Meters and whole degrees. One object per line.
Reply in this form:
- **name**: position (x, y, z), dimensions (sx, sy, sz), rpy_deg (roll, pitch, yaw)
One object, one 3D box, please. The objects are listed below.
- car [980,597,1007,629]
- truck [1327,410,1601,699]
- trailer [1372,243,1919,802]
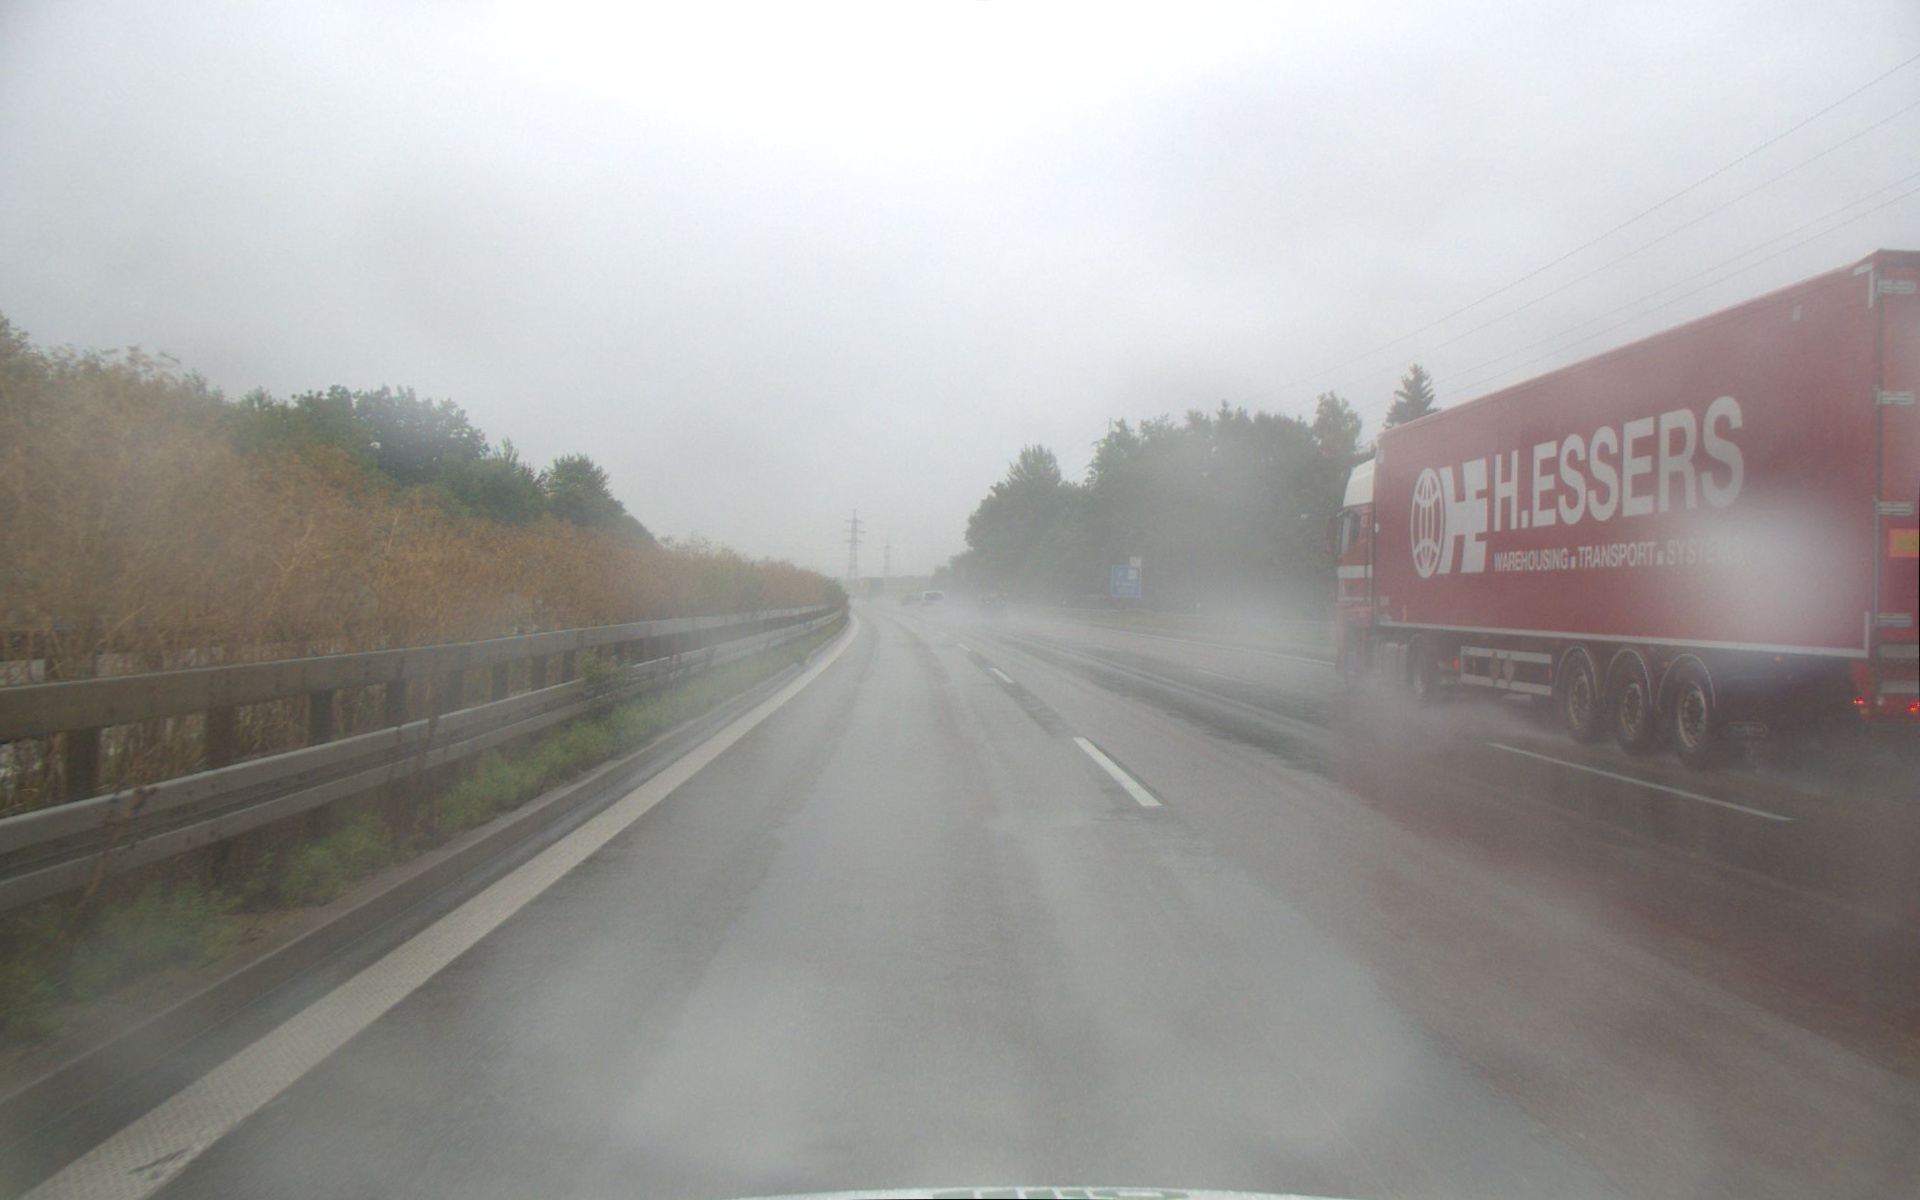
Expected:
- **car**: position (2.353, 0.899, 115.892), dimensions (1.770, 2.196, 4.000), rpy_deg (1, 0, -1)
- **truck**: position (7.651, -0.643, 25.854), dimensions (2.567, 4.024, 5.432), rpy_deg (0, 0, -1)
- **trailer**: position (7.780, -0.572, 18.764), dimensions (2.567, 4.024, 13.627), rpy_deg (0, 0, -1)
